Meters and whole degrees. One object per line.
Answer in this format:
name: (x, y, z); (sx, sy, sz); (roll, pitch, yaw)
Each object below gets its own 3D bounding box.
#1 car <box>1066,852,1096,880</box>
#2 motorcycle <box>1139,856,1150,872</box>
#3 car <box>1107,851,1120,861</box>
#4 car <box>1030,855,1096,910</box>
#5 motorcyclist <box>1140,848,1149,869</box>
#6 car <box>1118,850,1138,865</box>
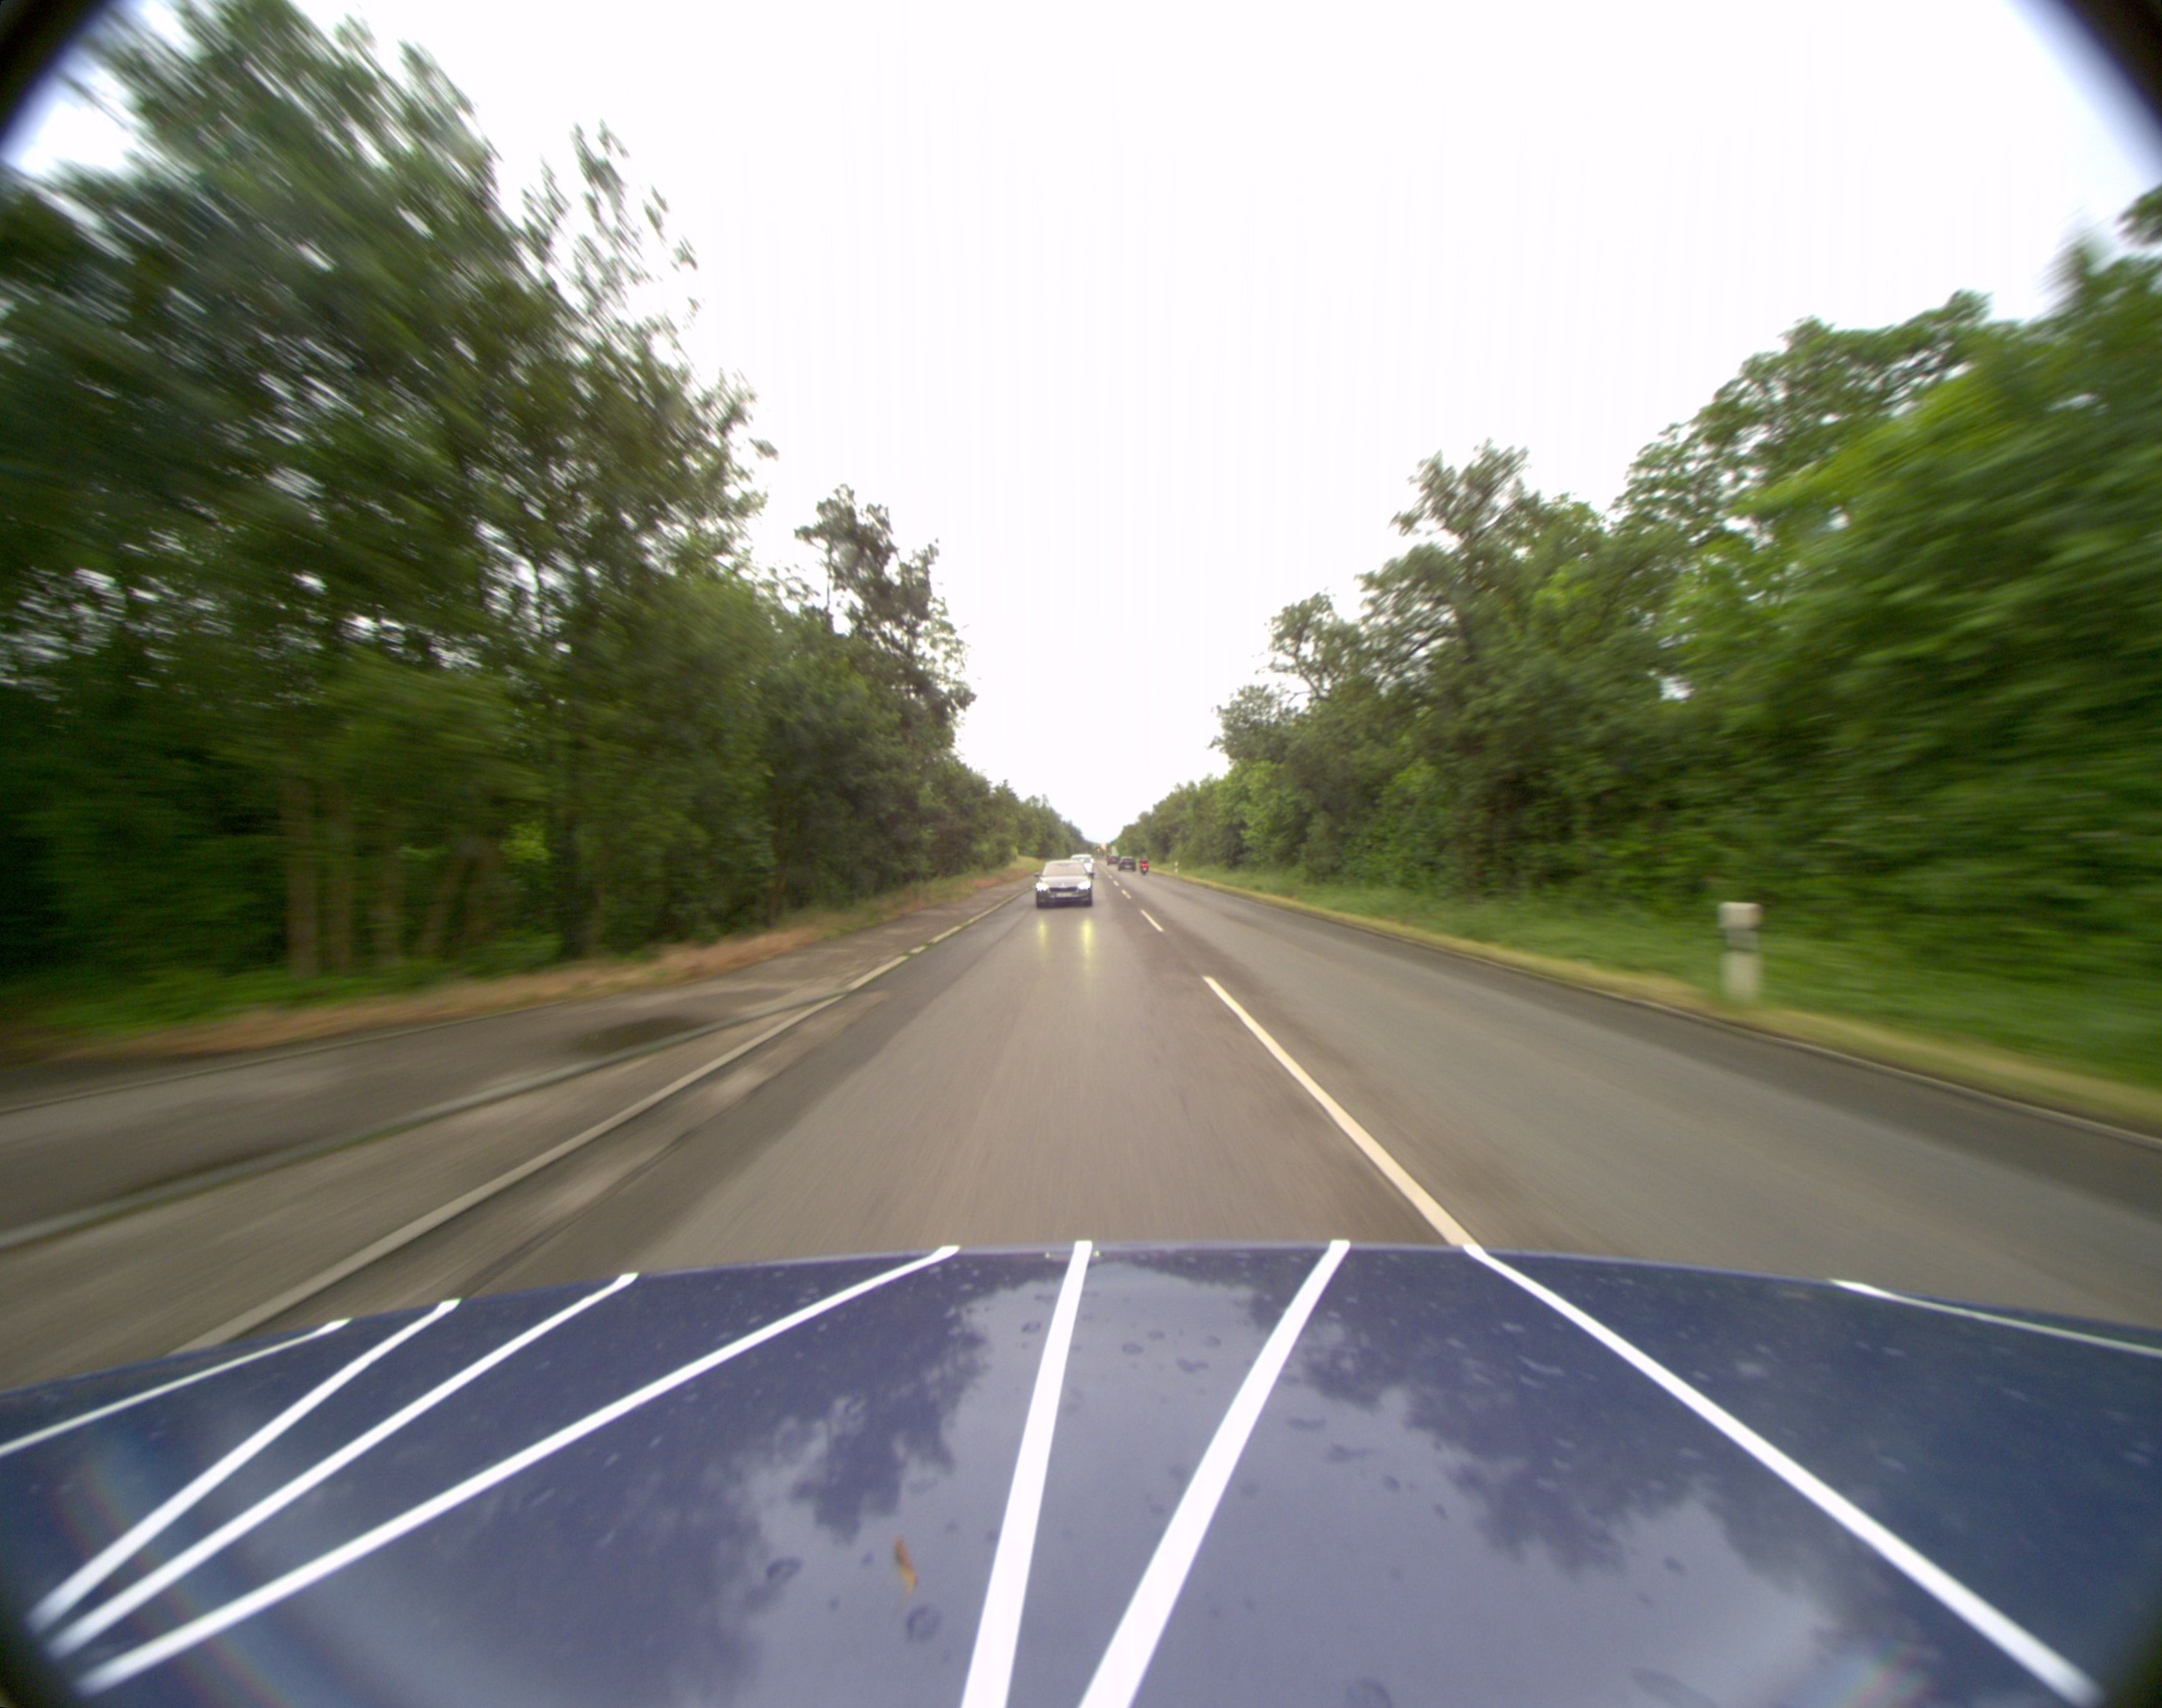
car: (0.028, 0.763, 51.081); (1.915, 1.691, 3.913); (-2, 1, 1)
motorcycle: (5.170, 0.805, 62.112); (0.667, 1.191, 2.101); (1, 0, 0)
car: (5.075, 0.262, 119.011); (1.793, 1.465, 3.623); (1, 1, 1)
car: (-0.521, 0.869, 25.122); (1.915, 1.543, 4.354); (-2, 1, 1)
motorcyclist: (5.140, 0.373, 61.834); (0.697, 1.644, 0.667); (-1, 1, 0)
car: (4.804, 0.368, 77.600); (1.793, 1.465, 3.623); (1, 1, 1)
